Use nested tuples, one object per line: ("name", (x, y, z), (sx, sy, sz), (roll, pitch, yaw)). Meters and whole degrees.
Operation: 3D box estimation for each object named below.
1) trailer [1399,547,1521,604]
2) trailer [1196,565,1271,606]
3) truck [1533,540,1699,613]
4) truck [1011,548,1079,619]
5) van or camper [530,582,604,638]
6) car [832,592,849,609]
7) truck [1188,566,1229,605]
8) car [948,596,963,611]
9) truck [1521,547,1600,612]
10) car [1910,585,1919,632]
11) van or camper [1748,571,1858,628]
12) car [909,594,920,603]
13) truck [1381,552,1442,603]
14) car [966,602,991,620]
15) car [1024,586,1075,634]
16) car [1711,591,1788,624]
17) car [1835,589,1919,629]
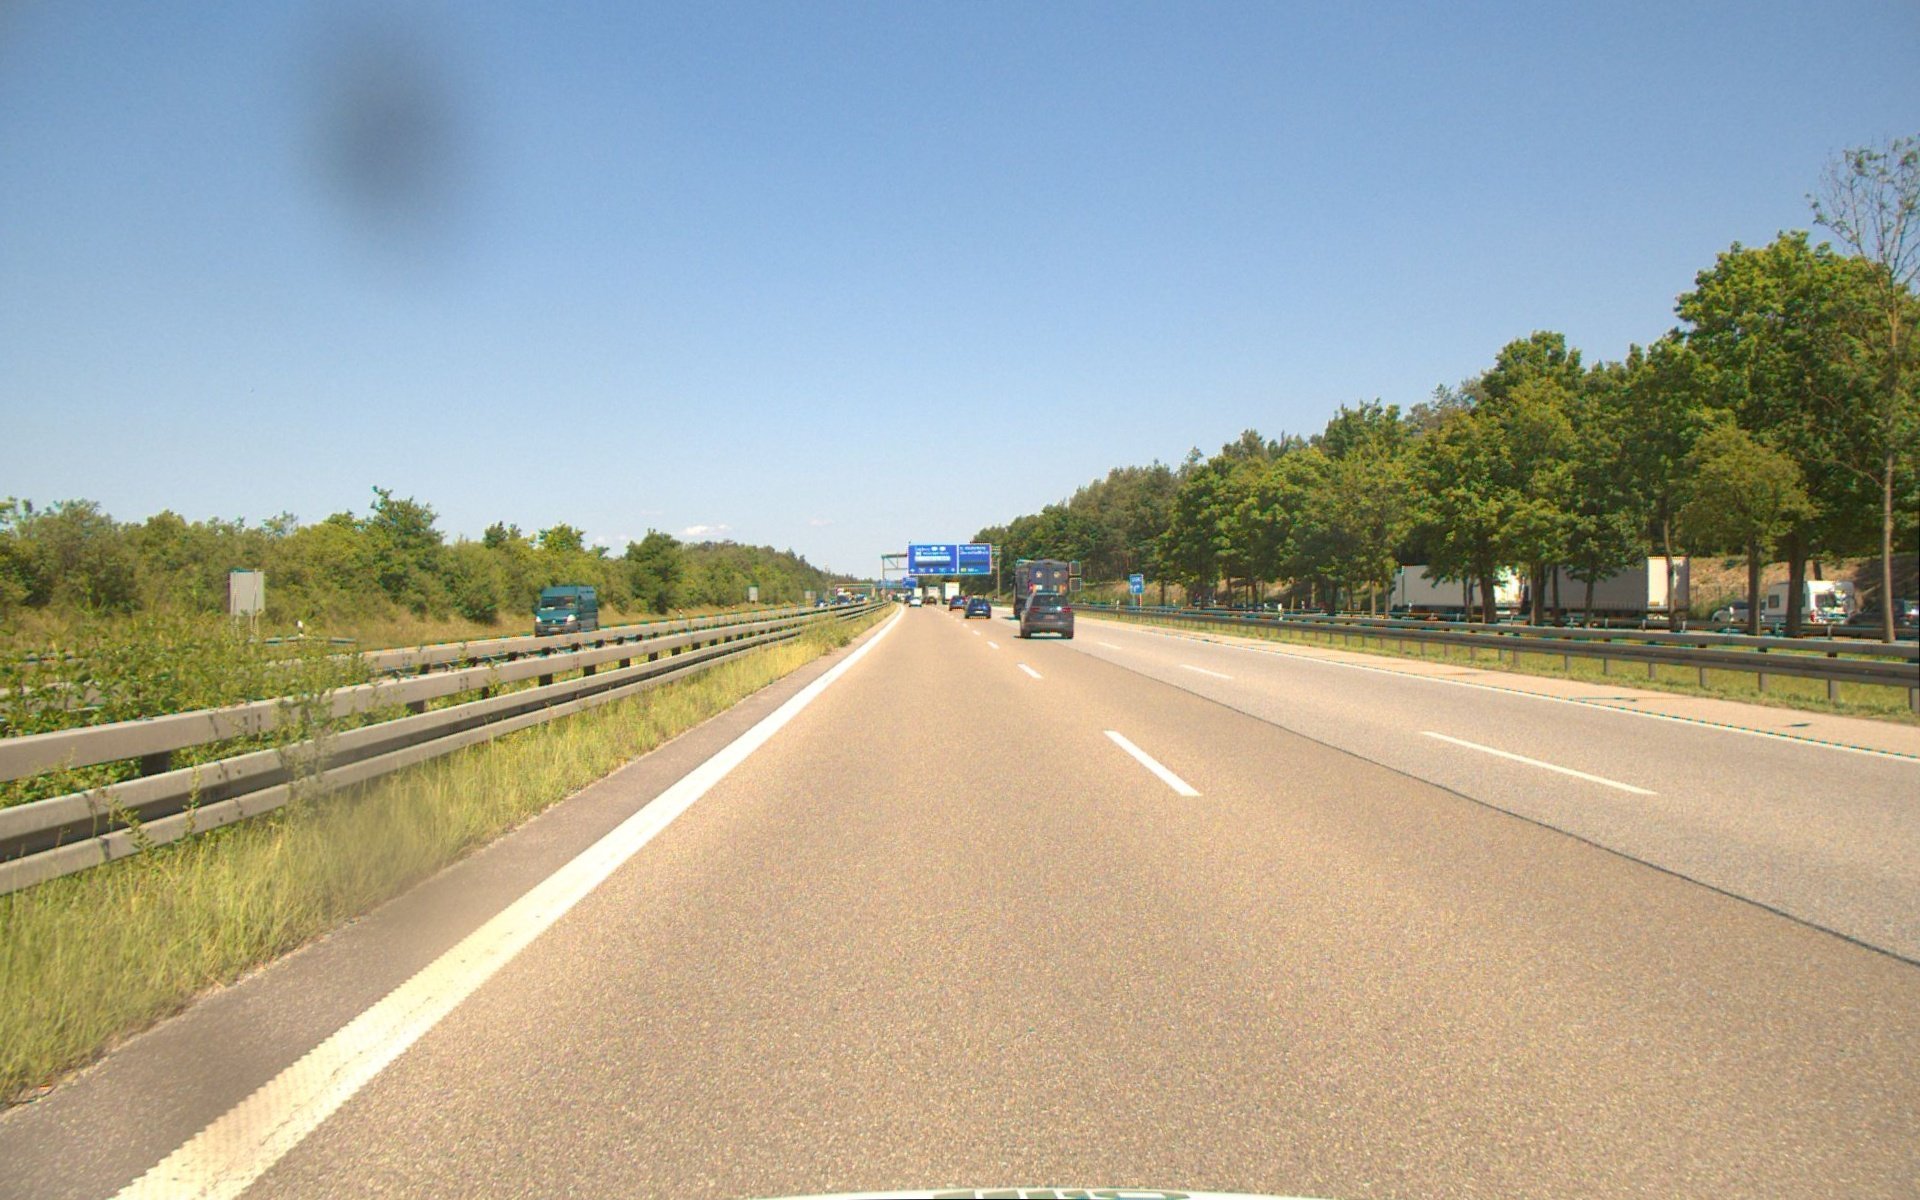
("trailer", (35.970, -1.699, 119.895), (2.804, 3.863, 14.163), (0, 0, -8))
("trailer", (27.063, -1.398, 164.259), (2.528, 3.983, 12.702), (0, 0, -14))
("truck", (38.690, -1.322, 98.378), (2.938, 4.000, 14.443), (0, 0, -5))
("truck", (5.642, -1.093, 112.673), (3.703, 4.499, 14.048), (0, 0, -1))
("van or camper", (-18.128, 0.404, 76.621), (1.953, 2.434, 6.240), (-2, 0, -1))
("car", (-15.582, 0.109, 215.316), (1.953, 2.146, 4.301), (-2, 0, -1))
("truck", (25.554, -1.459, 170.376), (2.528, 3.983, 4.848), (0, 0, -14))
("car", (-0.500, 0.348, 173.735), (1.441, 1.422, 3.410), (2, 0, -1))
("truck", (38.079, -1.289, 105.037), (2.913, 4.000, 4.828), (0, 0, -5))
("car", (39.558, 0.343, 65.278), (1.621, 1.910, 4.802), (0, 0, 3))
("van or camper", (39.683, -0.043, 78.043), (2.158, 2.575, 5.874), (0, 0, -1))
("car", (-6.313, -0.192, 227.487), (1.441, 1.249, 3.410), (-1, 0, -1))
("truck", (34.835, -1.709, 127.868), (2.756, 3.863, 5.136), (0, 0, -8))
("car", (1.276, 0.729, 114.604), (1.674, 1.176, 3.688), (-1, 0, -1))
("car", (3.260, 0.344, 60.856), (1.762, 1.698, 4.259), (1, 0, 2))
("car", (39.918, 0.381, 83.699), (1.622, 1.625, 4.554), (0, 0, -2))
("car", (39.724, 0.385, 71.075), (1.623, 1.670, 4.493), (0, 0, -4))
